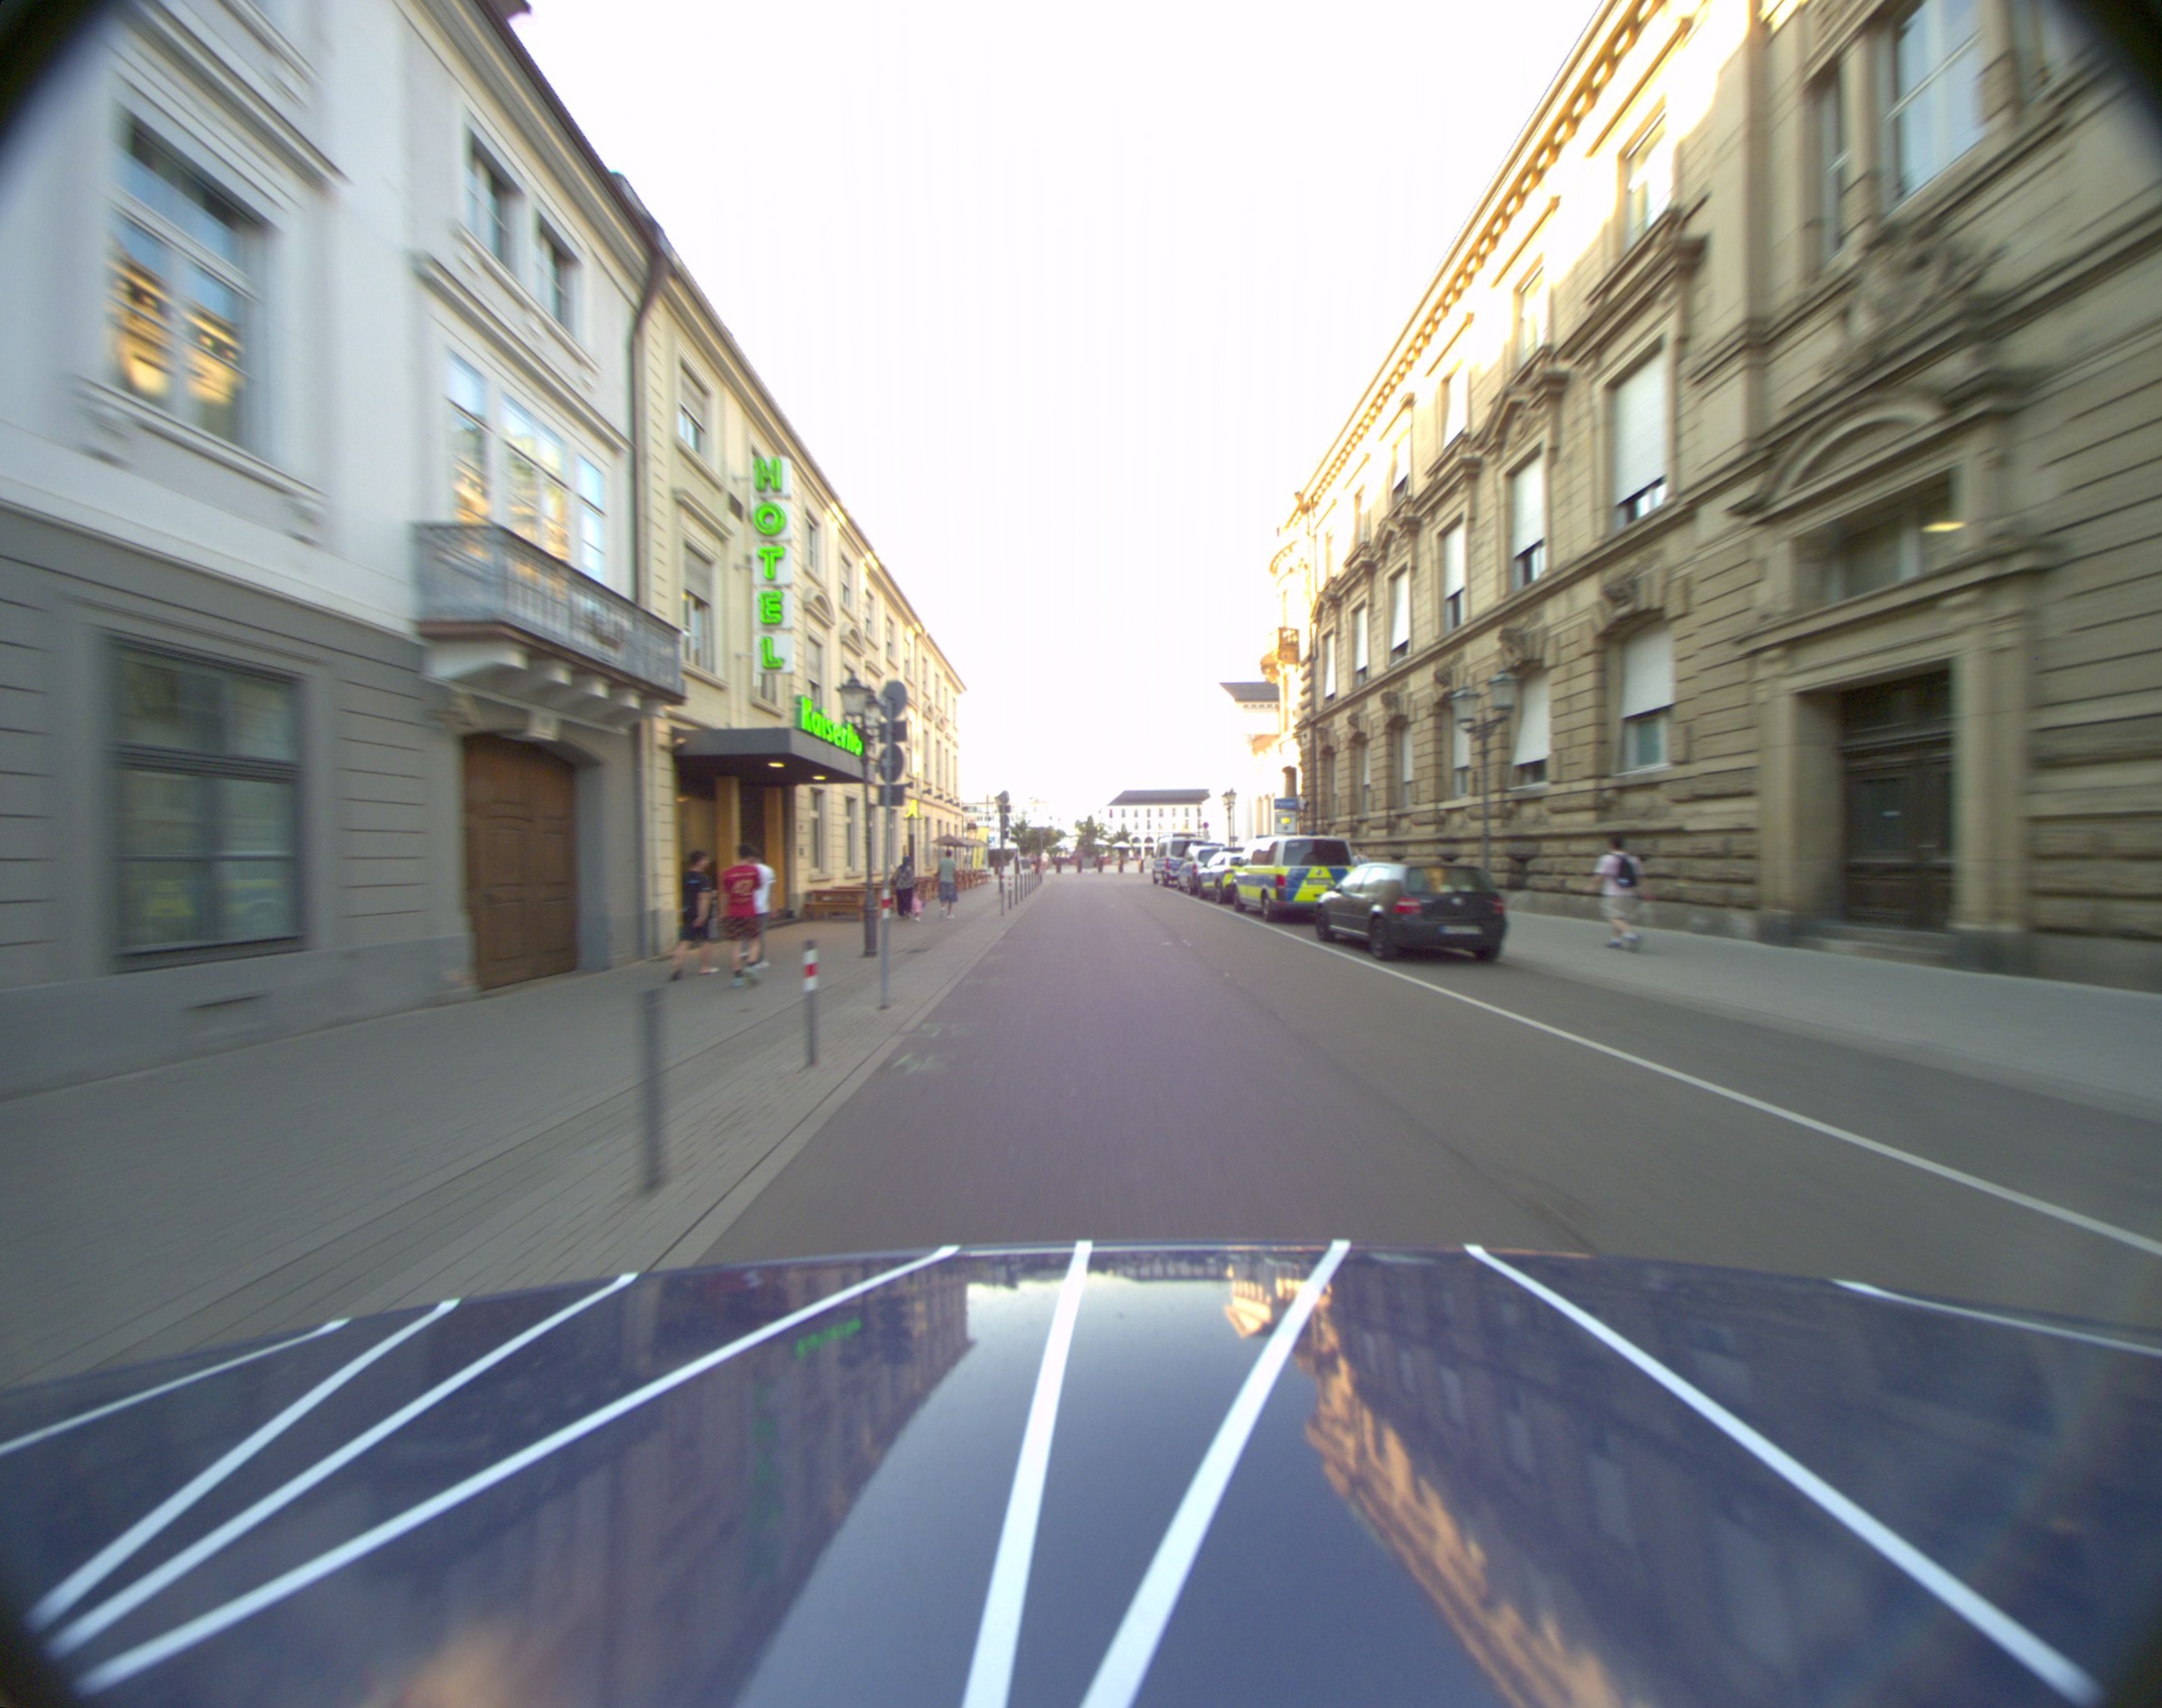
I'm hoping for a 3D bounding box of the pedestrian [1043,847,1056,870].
[{"bbox_3d":[-2.401,0.342,58.032,0.667,1.720,0.767,0,1,43],"label":"pedestrian"}]

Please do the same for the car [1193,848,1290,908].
[{"bbox_3d":[5.097,0.695,24.846,1.999,1.742,4.988,-1,1,-1],"label":"car"}]

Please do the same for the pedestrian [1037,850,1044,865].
[{"bbox_3d":[-4.127,0.344,76.717,0.684,1.557,0.652,-1,1,-2],"label":"pedestrian"}]

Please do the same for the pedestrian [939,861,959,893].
[{"bbox_3d":[-5.812,1.007,33.405,0.777,1.351,0.723,-1,1,-17],"label":"pedestrian"}]

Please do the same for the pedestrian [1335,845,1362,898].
[{"bbox_3d":[8.934,0.578,25.385,0.584,1.720,0.831,-1,1,1],"label":"pedestrian"}]

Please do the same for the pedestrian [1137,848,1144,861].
[{"bbox_3d":[7.492,0.054,96.278,0.856,1.720,0.881,-1,1,3],"label":"pedestrian"}]

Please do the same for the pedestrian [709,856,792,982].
[{"bbox_3d":[-4.746,0.904,10.964,0.749,1.720,0.881,-1,1,3],"label":"pedestrian"}]

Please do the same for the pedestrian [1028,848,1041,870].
[{"bbox_3d":[-3.516,0.382,57.819,0.607,1.720,0.719,0,1,43],"label":"pedestrian"}]

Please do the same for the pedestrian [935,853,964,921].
[{"bbox_3d":[-3.391,0.839,19.636,0.608,1.720,0.558,-1,1,1],"label":"pedestrian"}]

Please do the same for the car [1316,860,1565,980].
[{"bbox_3d":[5.389,0.886,12.109,1.998,1.486,4.164,-1,1,0],"label":"car"}]

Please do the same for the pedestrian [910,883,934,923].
[{"bbox_3d":[-3.980,1.218,19.059,0.461,0.974,0.558,-1,1,1],"label":"pedestrian"}]

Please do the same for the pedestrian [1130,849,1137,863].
[{"bbox_3d":[6.626,0.240,96.793,0.856,1.720,0.881,-1,1,3],"label":"pedestrian"}]

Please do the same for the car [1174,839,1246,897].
[{"bbox_3d":[5.053,0.486,30.406,1.998,2.075,5.206,-1,1,0],"label":"car"}]

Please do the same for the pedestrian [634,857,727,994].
[{"bbox_3d":[-5.300,0.913,10.104,0.715,1.720,0.873,-1,1,2],"label":"pedestrian"}]

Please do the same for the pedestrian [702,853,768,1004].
[{"bbox_3d":[-4.304,0.884,9.510,0.623,1.779,0.912,-1,1,-19],"label":"pedestrian"}]

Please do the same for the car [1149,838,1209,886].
[{"bbox_3d":[4.728,0.351,37.443,1.999,2.158,5.205,-1,0,-3],"label":"car"}]

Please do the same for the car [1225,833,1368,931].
[{"bbox_3d":[5.075,0.557,18.681,1.999,2.065,4.988,-1,1,-1],"label":"car"}]

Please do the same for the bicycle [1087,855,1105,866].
[{"bbox_3d":[1.600,0.663,79.946,1.683,1.115,0.846,-1,1,34],"label":"bicycle"}]

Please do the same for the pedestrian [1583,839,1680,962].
[{"bbox_3d":[8.165,0.660,11.312,0.715,1.720,0.896,-4,1,1],"label":"pedestrian"}]

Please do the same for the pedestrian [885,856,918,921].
[{"bbox_3d":[-4.541,0.858,19.232,0.631,1.591,0.615,-1,1,1],"label":"pedestrian"}]

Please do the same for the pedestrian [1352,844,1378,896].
[{"bbox_3d":[9.587,0.522,25.639,0.608,1.720,0.703,-1,1,1],"label":"pedestrian"}]
